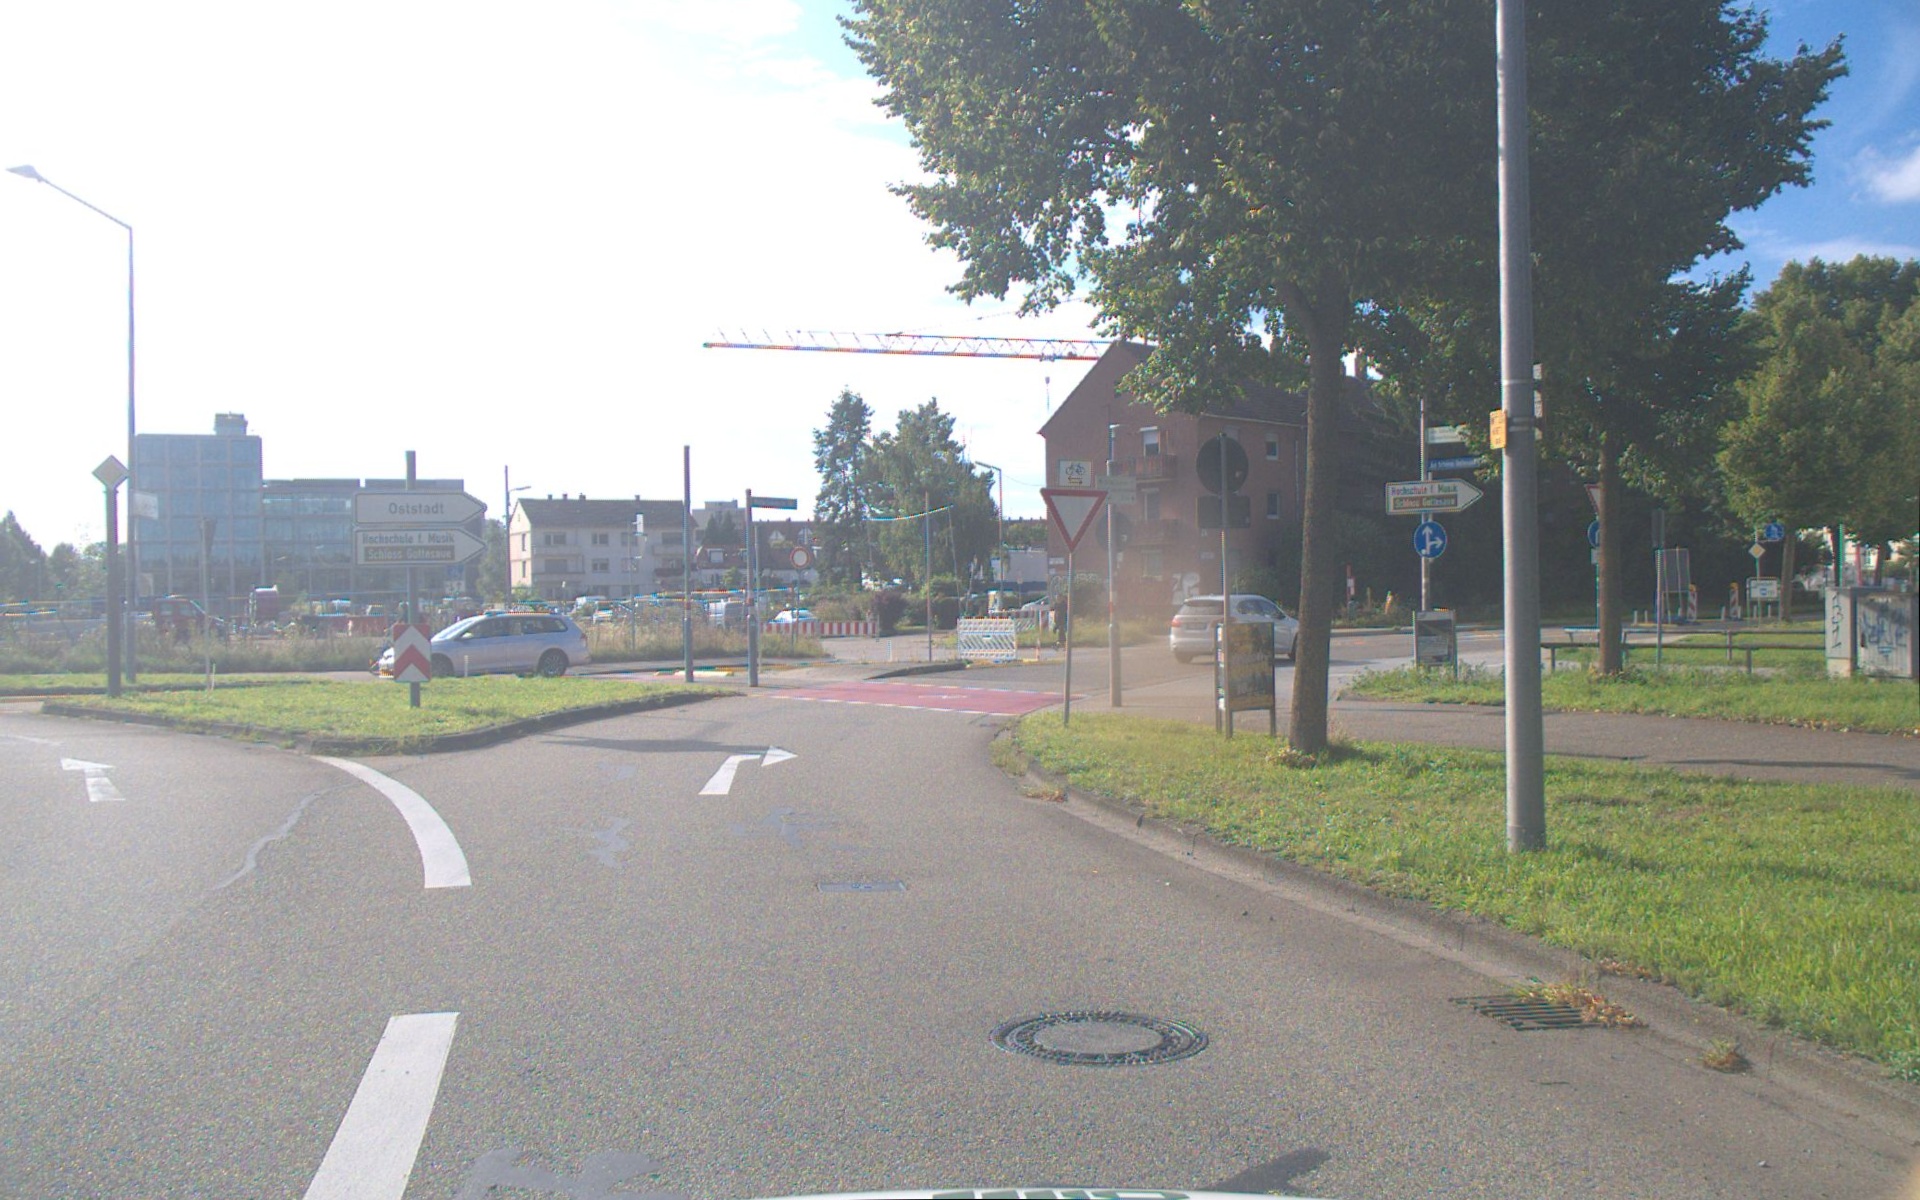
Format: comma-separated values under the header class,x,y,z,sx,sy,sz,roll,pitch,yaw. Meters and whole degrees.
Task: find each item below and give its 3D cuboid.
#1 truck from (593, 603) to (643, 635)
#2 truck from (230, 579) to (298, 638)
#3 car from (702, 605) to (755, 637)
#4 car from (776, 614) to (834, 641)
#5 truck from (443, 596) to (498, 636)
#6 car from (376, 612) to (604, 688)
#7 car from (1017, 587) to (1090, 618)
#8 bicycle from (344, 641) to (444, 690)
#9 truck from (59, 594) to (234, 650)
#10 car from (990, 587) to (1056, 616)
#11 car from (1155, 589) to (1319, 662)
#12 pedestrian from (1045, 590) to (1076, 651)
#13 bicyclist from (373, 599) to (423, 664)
class,x,y,z,sx,sy,sz,roll,pitch,yaw
truck,-24.186,1.331,116.768,1.953,2.209,5.353,-1,0,-29
truck,-40.912,0.507,97.098,2.778,3.263,7.241,-1,0,-30
car,-13.812,1.229,98.554,1.859,1.847,3.961,-1,0,-29
car,-8.339,1.464,88.836,1.697,1.417,3.961,-1,0,-29
truck,-30.714,0.992,103.602,2.035,2.369,5.580,-1,0,-30
car,-10.293,1.061,36.371,4.493,1.478,1.800,-1,0,-37
car,5.328,0.130,94.037,3.901,1.646,1.775,-1,0,11
bicycle,-13.656,1.574,39.950,2.155,1.081,0.704,-2,0,-7
truck,-40.809,1.081,83.178,7.743,2.612,3.047,-1,0,-28
car,3.770,0.078,99.843,3.905,1.646,1.773,-1,0,0
car,6.626,0.557,39.253,1.823,1.600,4.429,0,1,41
pedestrian,3.162,0.633,52.029,0.654,1.903,0.834,-1,0,28
bicyclist,-13.568,0.749,39.945,0.988,1.538,0.704,-2,0,-7
